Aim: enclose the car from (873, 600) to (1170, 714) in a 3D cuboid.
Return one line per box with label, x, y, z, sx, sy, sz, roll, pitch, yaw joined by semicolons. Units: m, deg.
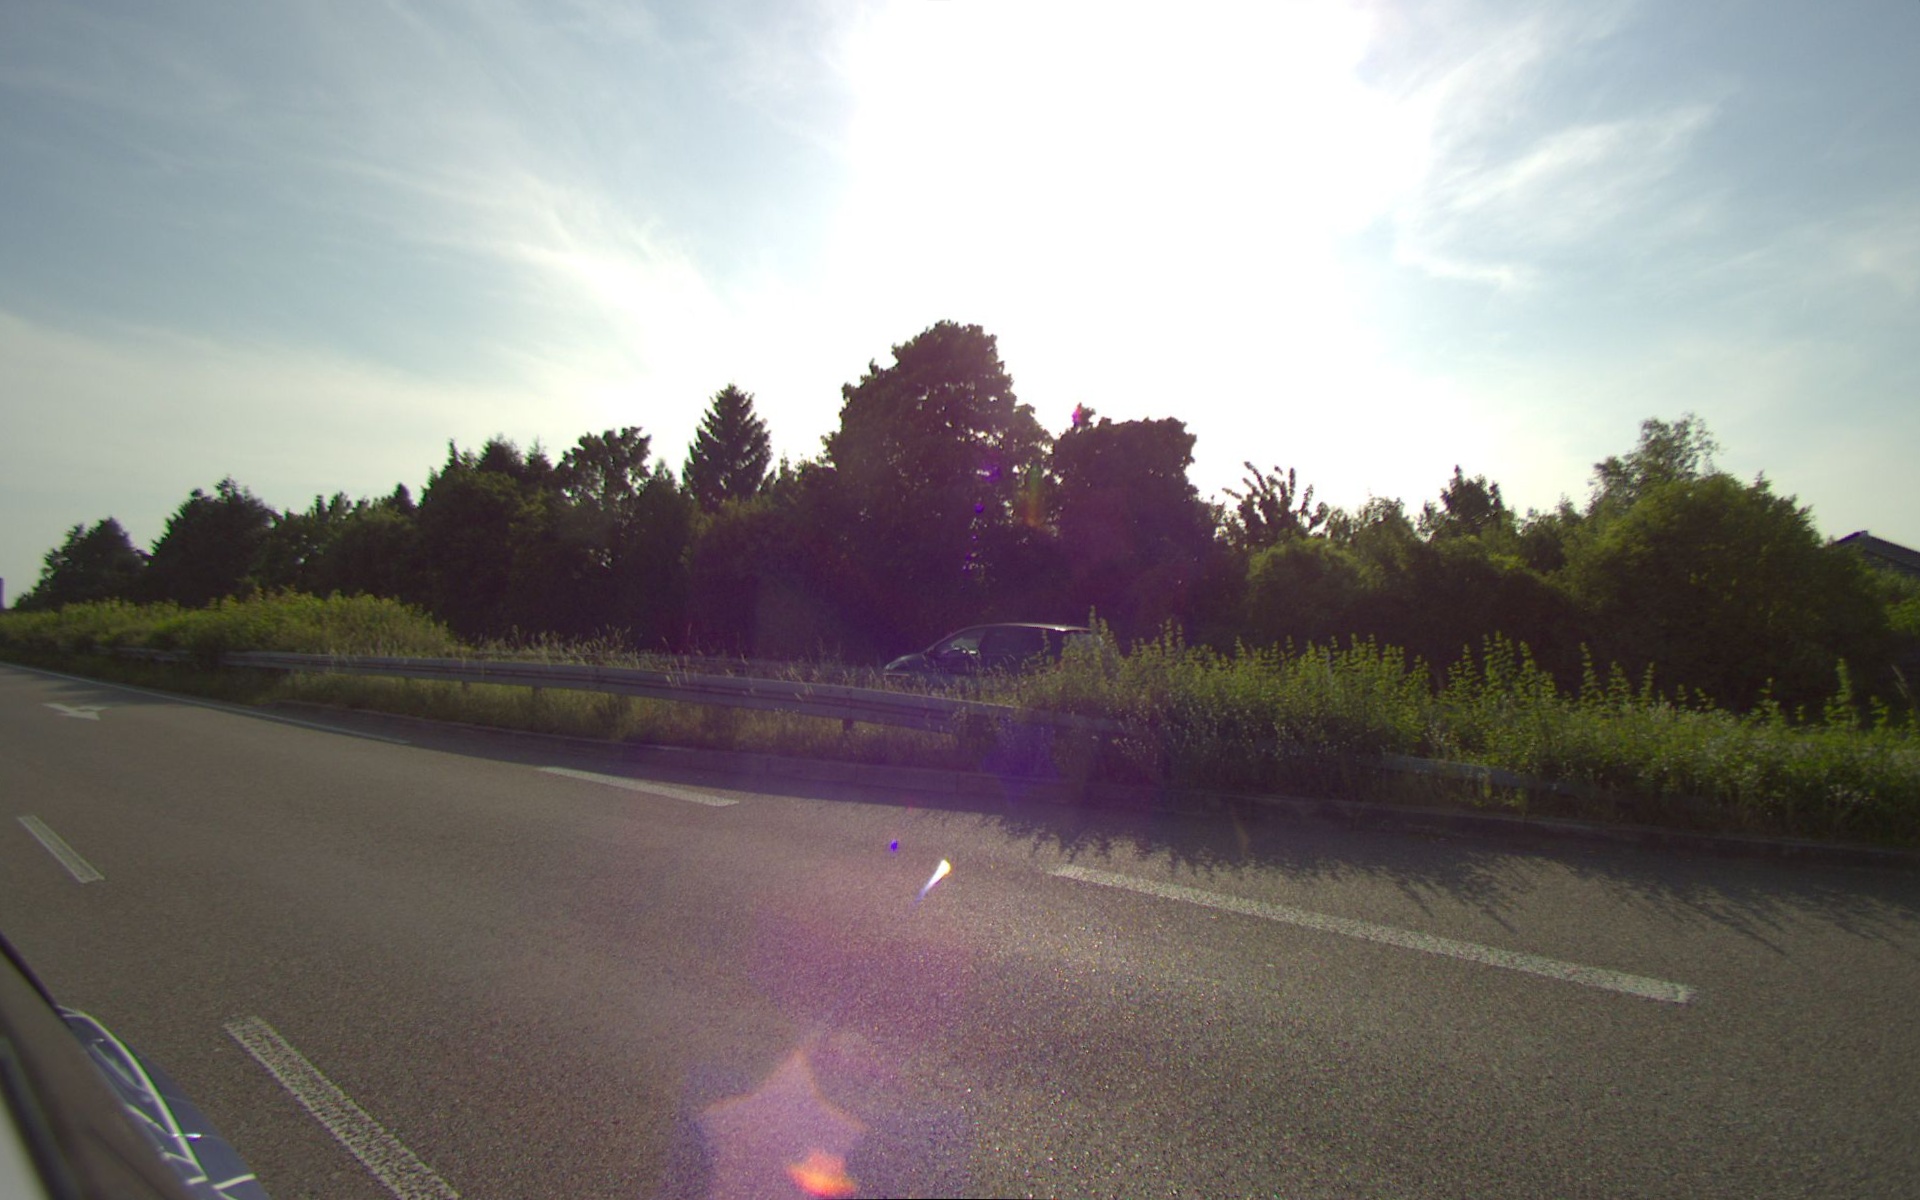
car;0.855;0.807;15.570;4.224;1.497;1.973;-2;-1;41
